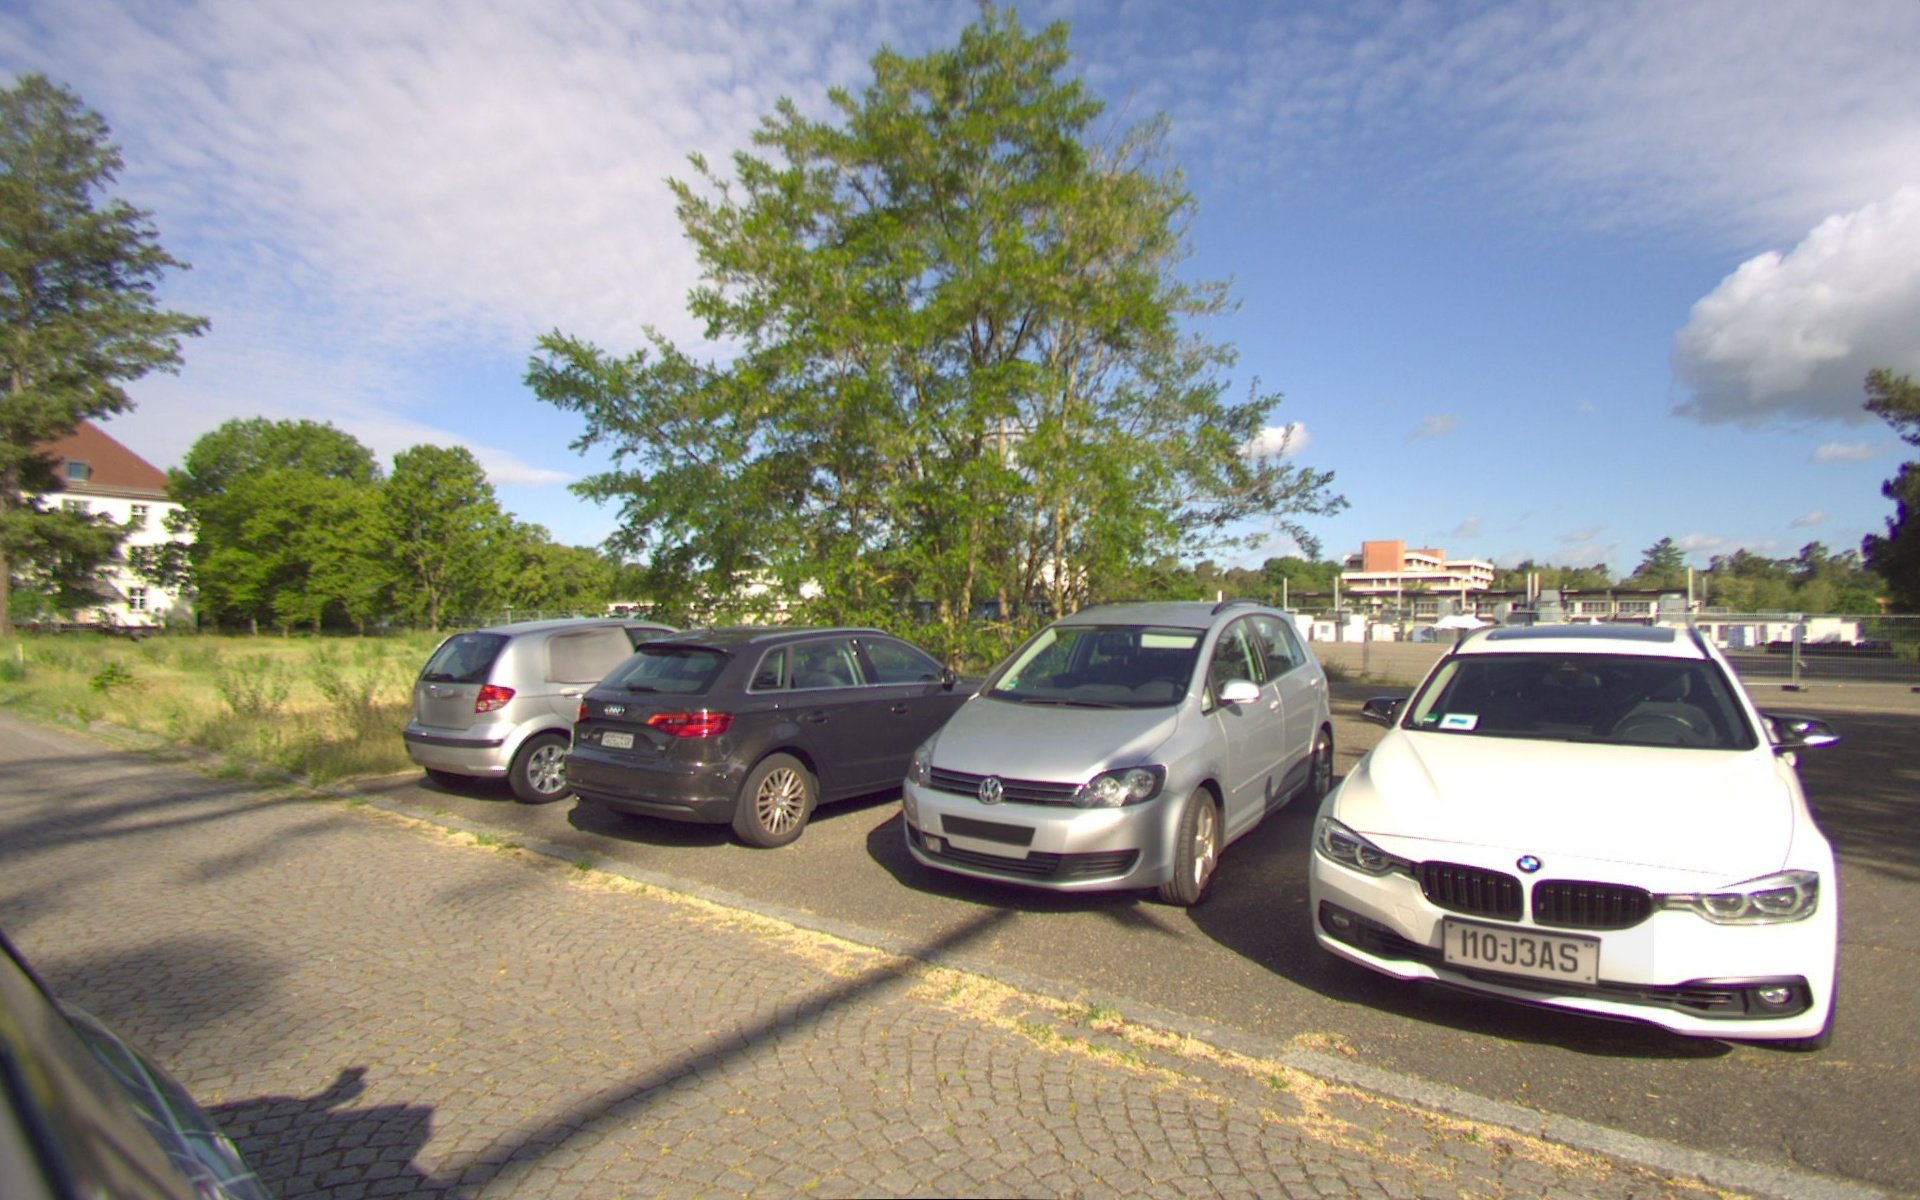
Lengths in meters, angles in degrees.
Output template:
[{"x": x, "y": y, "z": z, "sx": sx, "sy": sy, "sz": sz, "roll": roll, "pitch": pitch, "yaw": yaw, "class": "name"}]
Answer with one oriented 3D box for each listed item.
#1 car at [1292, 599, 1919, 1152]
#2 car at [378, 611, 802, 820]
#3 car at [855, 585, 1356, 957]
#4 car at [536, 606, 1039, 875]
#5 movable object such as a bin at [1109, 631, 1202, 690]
[{"x": 3.293, "y": 0.787, "z": 5.179, "sx": 1.749, "sy": 1.478, "sz": 4.501, "roll": -1, "pitch": 0, "yaw": 36, "class": "car"}, {"x": -3.308, "y": 0.899, "z": 9.565, "sx": 1.633, "sy": 1.482, "sz": 3.434, "roll": -1, "pitch": 1, "yaw": 36, "class": "car"}, {"x": 1.234, "y": 0.747, "z": 6.631, "sx": 1.717, "sy": 1.638, "sz": 3.911, "roll": -1, "pitch": 1, "yaw": 34, "class": "car"}, {"x": -1.123, "y": 0.848, "z": 7.993, "sx": 1.685, "sy": 1.482, "sz": 3.761, "roll": -1, "pitch": 1, "yaw": 38, "class": "car"}, {"x": 4.000, "y": 1.192, "z": 20.549, "sx": 0.996, "sy": 1.116, "sz": 2.257, "roll": -1, "pitch": -2, "yaw": 37, "class": "movable object such as a bin"}]
